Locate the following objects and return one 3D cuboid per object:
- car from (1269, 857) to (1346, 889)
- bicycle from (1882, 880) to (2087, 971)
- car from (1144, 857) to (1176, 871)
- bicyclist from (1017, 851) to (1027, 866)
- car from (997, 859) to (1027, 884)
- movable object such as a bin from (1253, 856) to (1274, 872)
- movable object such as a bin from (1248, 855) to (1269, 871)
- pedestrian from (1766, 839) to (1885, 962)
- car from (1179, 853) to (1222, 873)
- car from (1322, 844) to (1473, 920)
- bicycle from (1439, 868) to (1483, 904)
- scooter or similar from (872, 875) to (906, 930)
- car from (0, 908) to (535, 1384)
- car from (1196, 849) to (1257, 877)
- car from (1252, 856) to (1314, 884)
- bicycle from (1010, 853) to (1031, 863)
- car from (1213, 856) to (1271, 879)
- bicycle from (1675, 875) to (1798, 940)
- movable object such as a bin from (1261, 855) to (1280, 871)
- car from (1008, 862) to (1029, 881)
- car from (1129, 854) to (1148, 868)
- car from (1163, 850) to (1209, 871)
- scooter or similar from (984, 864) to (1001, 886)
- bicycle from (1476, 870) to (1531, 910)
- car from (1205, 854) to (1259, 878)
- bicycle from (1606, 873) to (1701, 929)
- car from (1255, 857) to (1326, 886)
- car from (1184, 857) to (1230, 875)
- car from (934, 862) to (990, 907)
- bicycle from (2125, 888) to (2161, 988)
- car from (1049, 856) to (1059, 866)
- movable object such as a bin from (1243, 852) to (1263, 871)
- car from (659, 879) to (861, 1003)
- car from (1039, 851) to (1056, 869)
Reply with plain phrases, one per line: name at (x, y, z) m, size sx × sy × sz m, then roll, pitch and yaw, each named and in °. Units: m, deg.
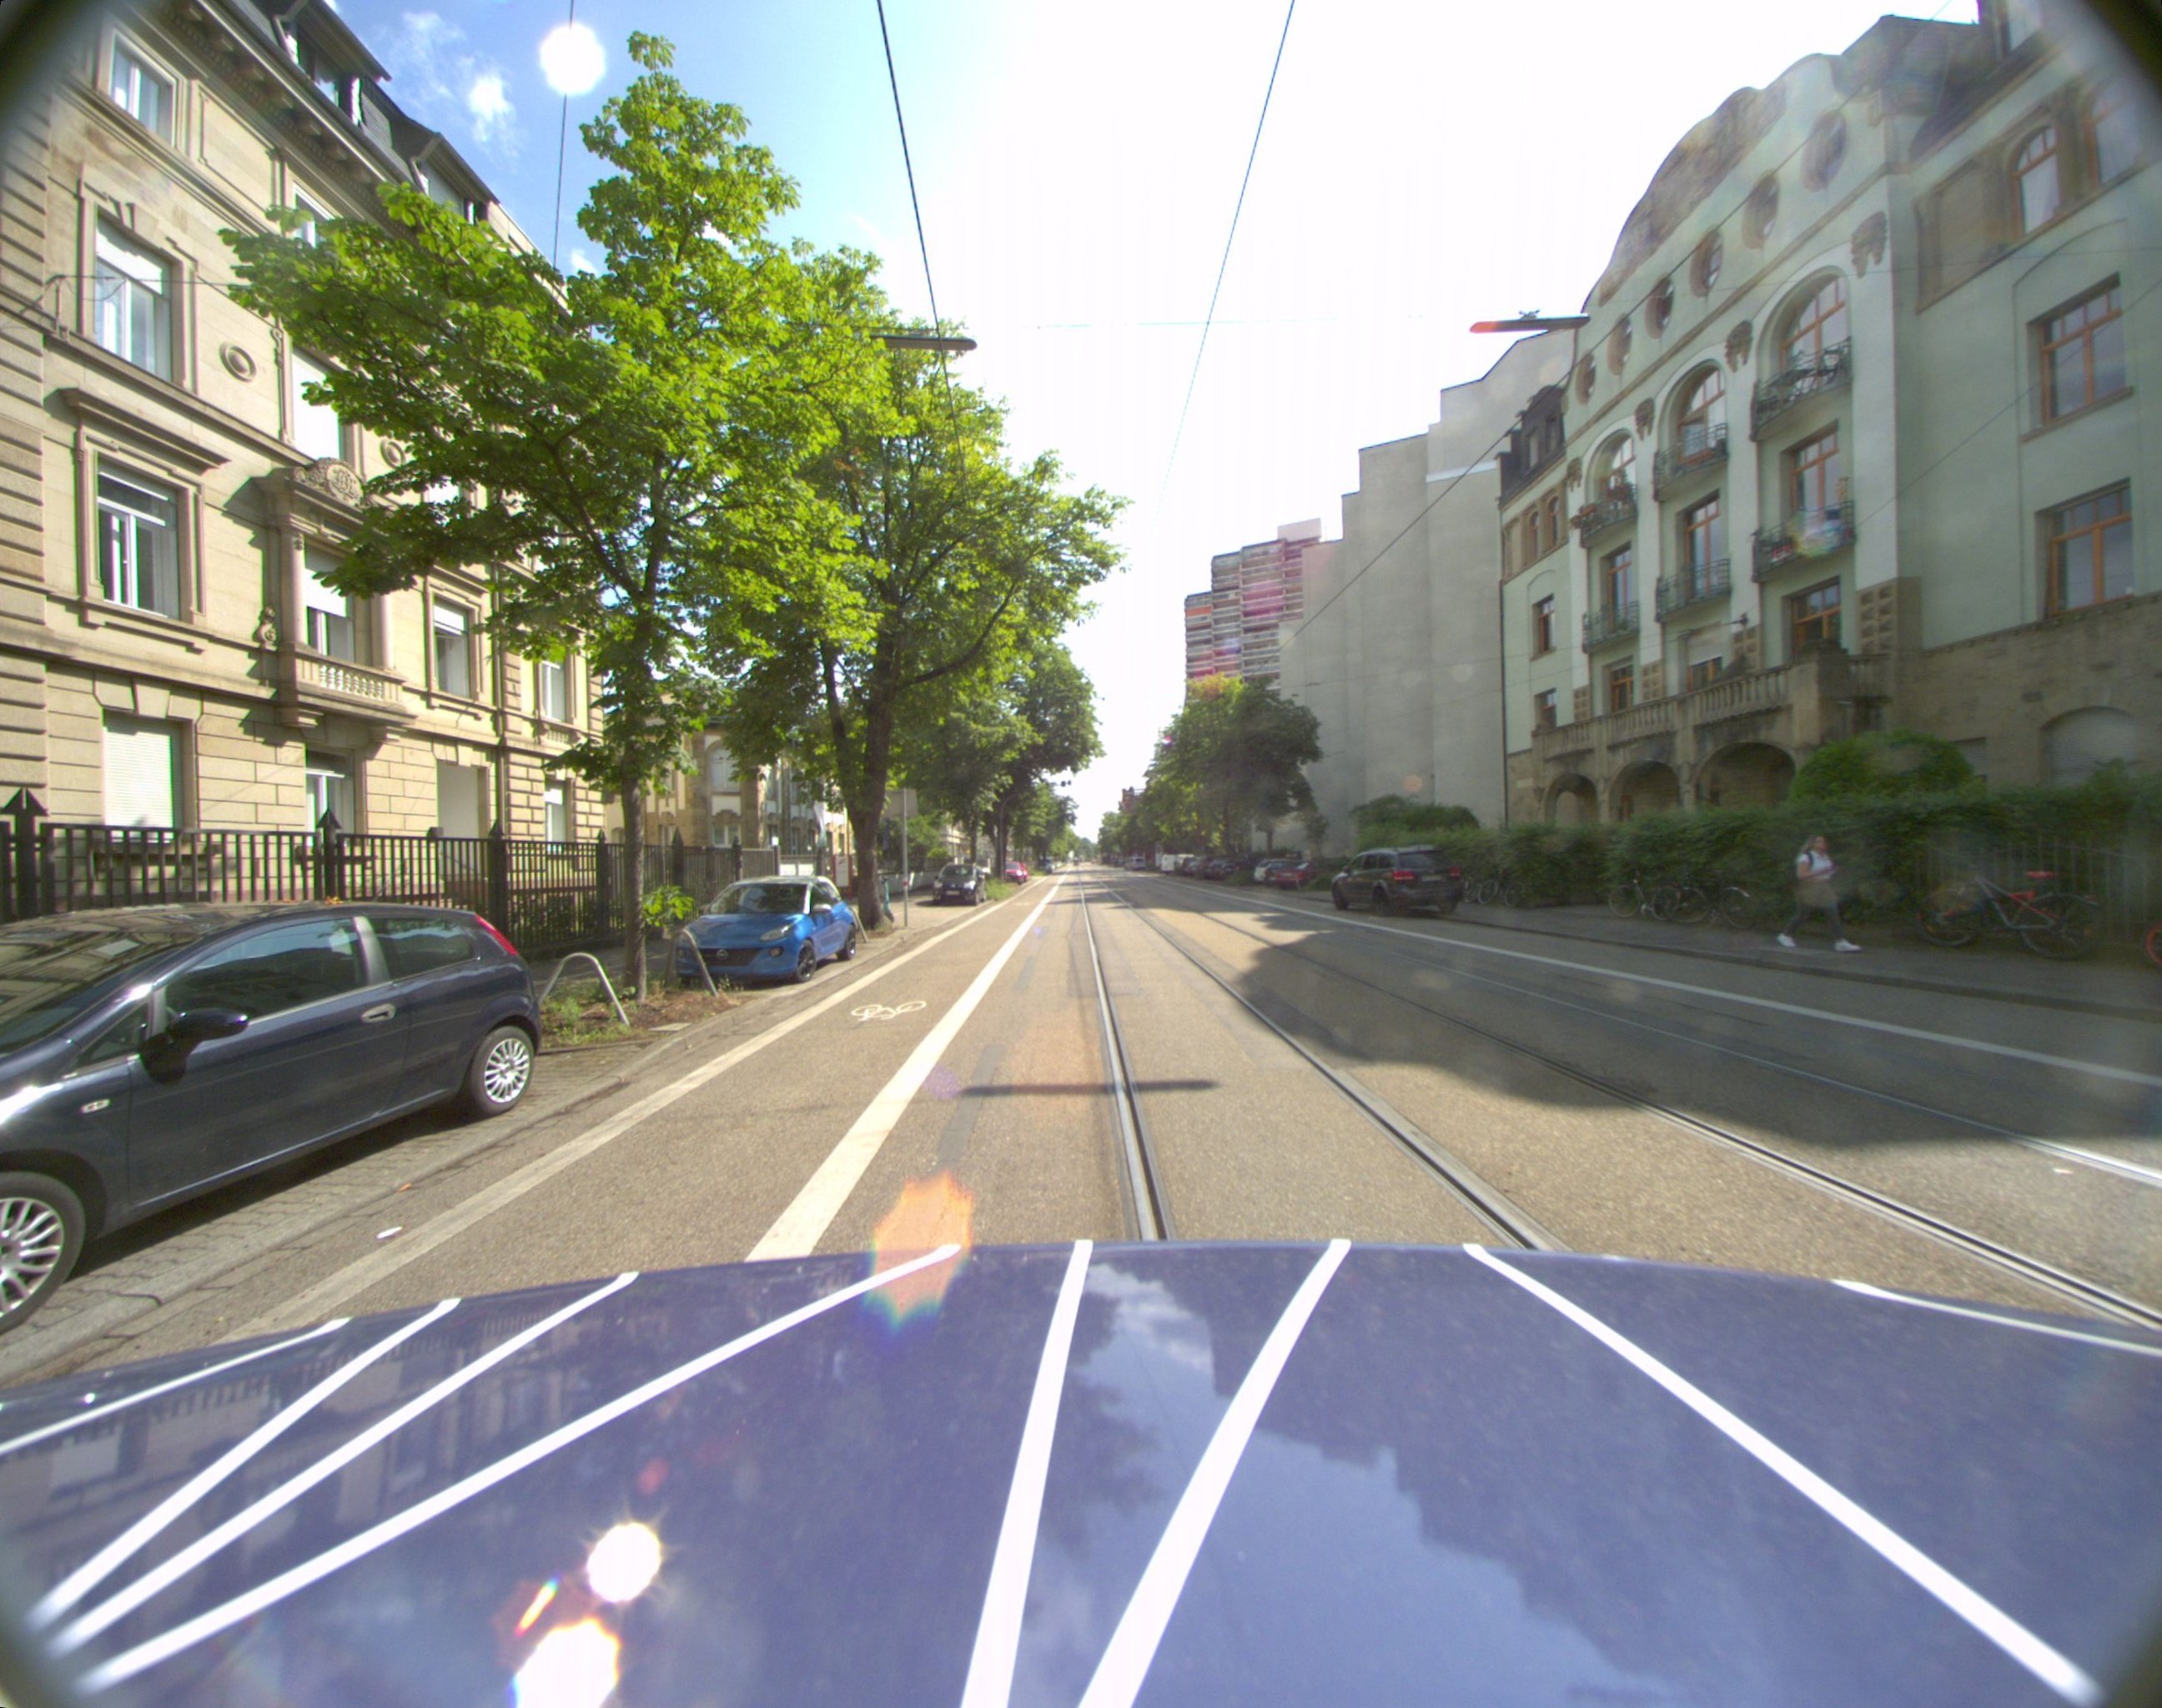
car at (11.041, 0.909, 36.888) m, size 3.979 × 1.475 × 1.841 m, roll 1°, pitch 0°, yaw -43°
bicycle at (11.070, 0.836, 9.412) m, size 0.384 × 0.953 × 1.801 m, roll -3°, pitch 0°, yaw 1°
car at (9.305, 1.148, 89.529) m, size 1.737 × 1.514 × 3.893 m, roll -2°, pitch 0°, yaw 43°
bicyclist at (-6.078, 0.483, 78.058) m, size 0.740 × 1.567 × 0.644 m, roll 0°, pitch 1°, yaw 21°
car at (-4.804, 1.211, 53.392) m, size 1.881 × 1.666 × 4.281 m, roll 0°, pitch 0°, yaw -2°
movable object such as a bin at (16.337, 0.866, 68.078) m, size 1.391 × 1.356 × 1.538 m, roll 2°, pitch 0°, yaw -4°
movable object such as a bin at (16.262, 0.836, 69.733) m, size 1.391 × 1.356 × 1.538 m, roll 2°, pitch 0°, yaw -4°
pedestrian at (10.014, 0.605, 10.255) m, size 0.681 × 1.559 × 0.882 m, roll -3°, pitch 0°, yaw 2°
car at (10.426, 0.805, 66.054) m, size 3.723 × 1.683 × 1.755 m, roll 1°, pitch 0°, yaw -44°
car at (8.236, 0.669, 20.337) m, size 1.790 × 1.752 × 4.882 m, roll -1°, pitch 0°, yaw -3°
bicycle at (10.998, 0.907, 22.048) m, size 0.384 × 0.953 × 1.810 m, roll -3°, pitch 0°, yaw 1°
scooter or similar at (-4.739, 1.186, 18.749) m, size 0.443 × 1.291 × 1.179 m, roll 2°, pitch -2°, yaw -31°
car at (-4.658, 1.122, 3.522) m, size 1.644 × 1.487 × 3.757 m, roll 0°, pitch 0°, yaw -2°
car at (10.895, 0.657, 56.474) m, size 1.911 × 1.942 × 5.180 m, roll 1°, pitch 0°, yaw 44°
car at (11.541, 0.910, 43.319) m, size 1.692 × 1.475 × 3.816 m, roll 1°, pitch 0°, yaw 44°
bicycle at (-6.209, 0.410, 78.107) m, size 1.996 × 1.034 × 0.658 m, roll 0°, pitch 1°, yaw 21°
car at (10.639, 0.878, 50.026) m, size 4.009 × 1.475 × 1.736 m, roll 1°, pitch 0°, yaw -43°
bicycle at (10.966, 0.860, 12.789) m, size 0.452 × 0.953 × 1.801 m, roll -3°, pitch 0°, yaw -1°
movable object such as a bin at (16.079, 0.784, 64.570) m, size 1.167 × 1.319 × 1.441 m, roll 2°, pitch 0°, yaw -2°
car at (-4.994, 1.376, 60.960) m, size 1.605 × 1.420 × 3.594 m, roll 2°, pitch 0°, yaw -4°
car at (8.388, 0.998, 110.912) m, size 1.893 × 1.840 × 4.234 m, roll -4°, pitch 0°, yaw -6°
car at (10.428, 0.638, 75.501) m, size 4.695 × 1.985 × 1.963 m, roll -1°, pitch 0°, yaw -42°
scooter or similar at (-5.238, 1.244, 45.115) m, size 0.341 × 1.230 × 1.262 m, roll 2°, pitch 1°, yaw 24°
bicycle at (10.955, 0.914, 19.765) m, size 0.384 × 0.953 × 1.921 m, roll -3°, pitch 0°, yaw 1°
car at (10.557, 0.846, 53.095) m, size 4.009 × 1.583 × 1.736 m, roll 1°, pitch 0°, yaw -45°
bicycle at (11.012, 0.868, 14.695) m, size 0.384 × 0.953 × 1.921 m, roll -3°, pitch 0°, yaw 1°
car at (11.078, 0.908, 40.042) m, size 3.815 × 1.475 × 1.693 m, roll 1°, pitch 0°, yaw -40°
car at (10.435, 0.988, 62.588) m, size 1.755 × 1.409 × 4.009 m, roll 1°, pitch 0°, yaw 44°
car at (-4.695, 1.165, 30.547) m, size 1.701 × 1.581 × 4.202 m, roll 0°, pitch 0°, yaw -1°
bicycle at (10.956, 0.841, 6.928) m, size 0.384 × 0.970 × 1.801 m, roll -3°, pitch 0°, yaw 1°
car at (-5.066, 1.326, 143.193) m, size 1.750 × 1.597 × 4.235 m, roll -4°, pitch 0°, yaw -1°
movable object such as a bin at (16.203, 0.683, 71.481) m, size 1.391 × 1.771 × 1.538 m, roll 2°, pitch 1°, yaw -4°
car at (-4.648, 1.174, 11.582) m, size 1.644 × 1.487 × 3.626 m, roll 0°, pitch 0°, yaw -2°
car at (-5.160, 0.939, 116.847) m, size 2.337 × 2.545 × 5.389 m, roll -4°, pitch 0°, yaw -1°
